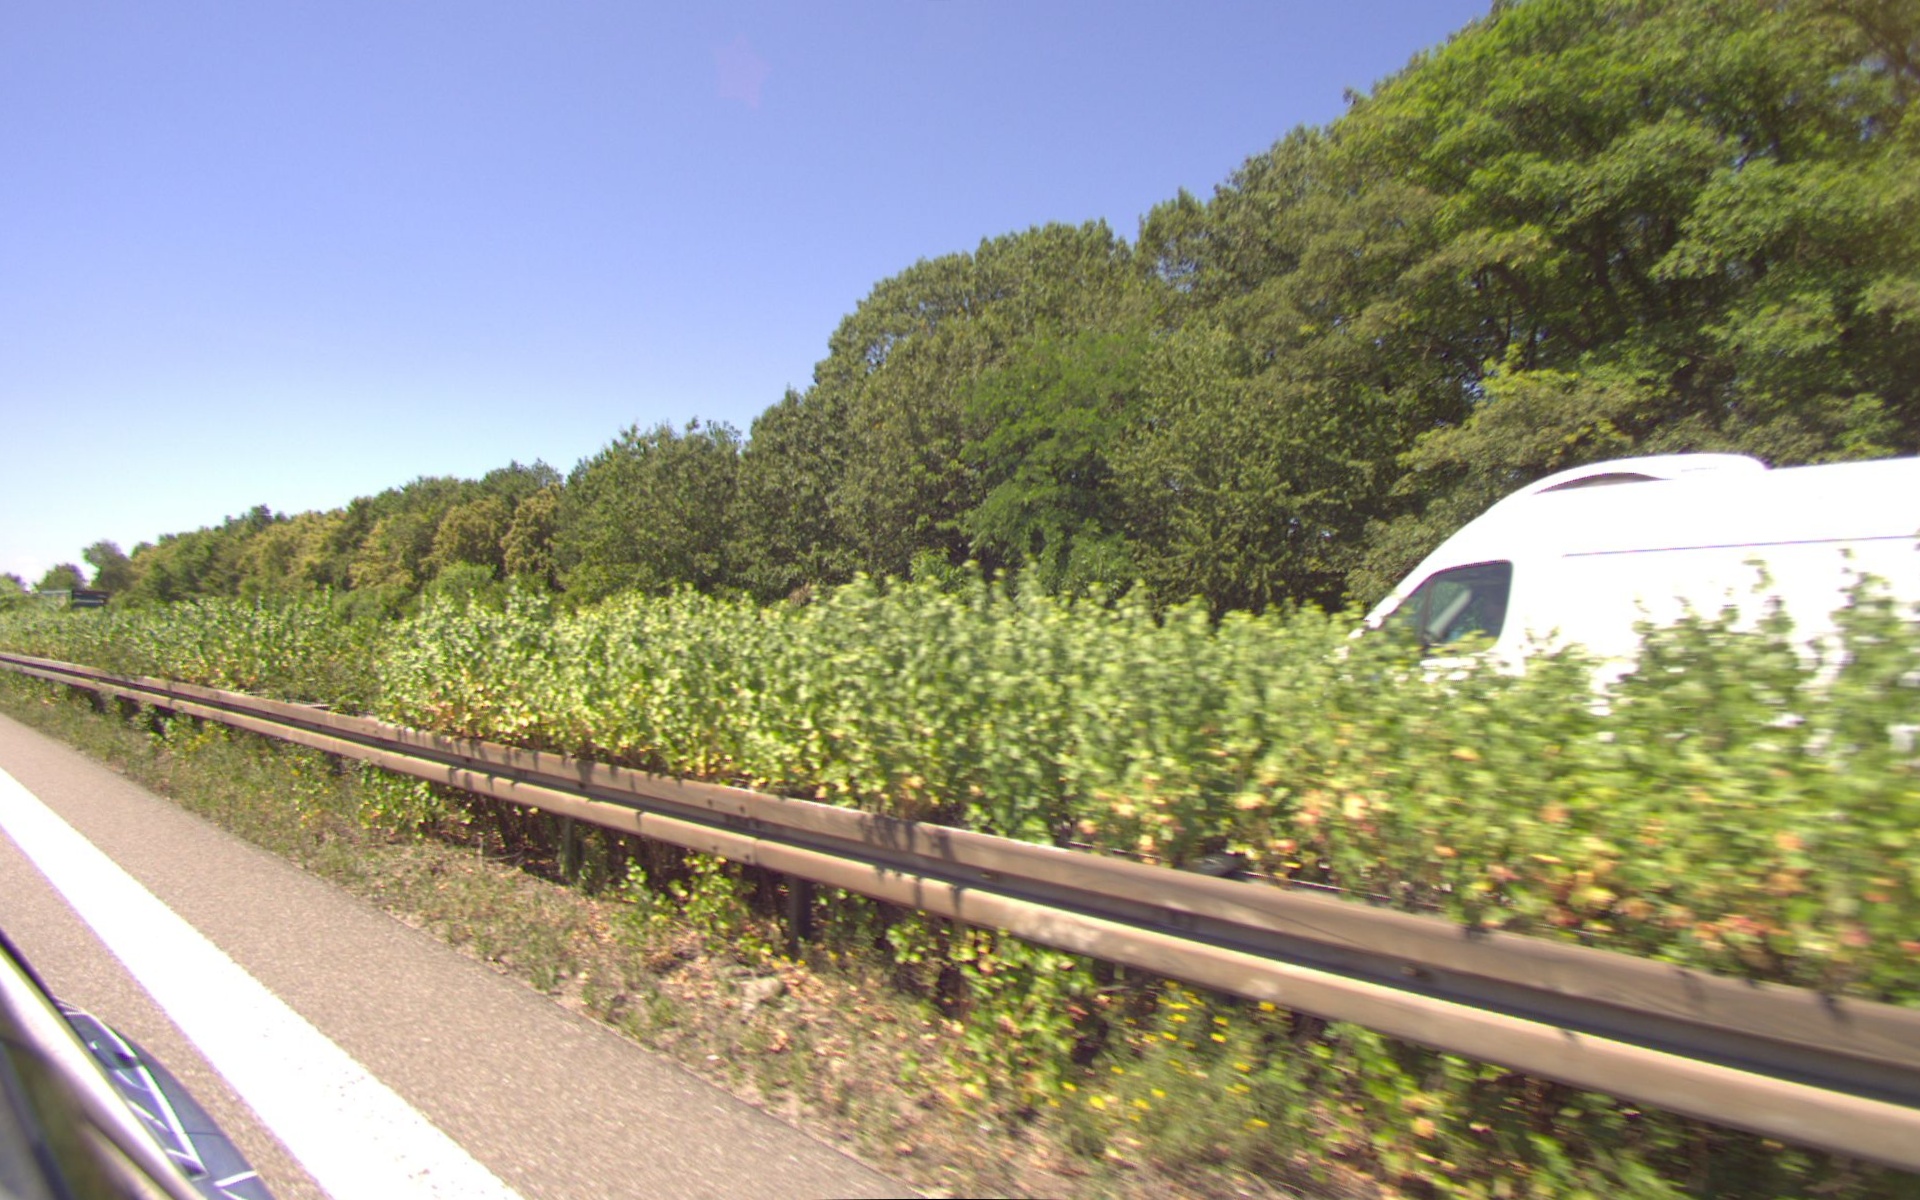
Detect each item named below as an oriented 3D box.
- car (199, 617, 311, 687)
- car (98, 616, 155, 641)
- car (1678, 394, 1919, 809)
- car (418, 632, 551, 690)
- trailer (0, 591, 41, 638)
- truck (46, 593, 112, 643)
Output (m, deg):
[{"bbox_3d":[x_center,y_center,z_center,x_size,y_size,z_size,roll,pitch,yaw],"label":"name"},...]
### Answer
[{"bbox_3d":[-22.051,1.542,31.615,3.998,2.029,1.973,-1,-1,41],"label":"car"},{"bbox_3d":[-46.362,1.577,56.279,3.997,1.348,1.776,-1,-1,41],"label":"car"},{"bbox_3d":[6.997,-0.015,5.211,5.206,2.248,1.973,-1,0,41],"label":"car"},{"bbox_3d":[-13.353,1.647,28.334,4.304,1.466,1.776,-1,-1,40],"label":"car"},{"bbox_3d":[-86.413,1.342,91.758,13.509,4.040,2.840,-1,-1,41],"label":"trailer"},{"bbox_3d":[-77.762,1.584,89.239,9.993,4.145,2.982,-1,-1,41],"label":"truck"}]
